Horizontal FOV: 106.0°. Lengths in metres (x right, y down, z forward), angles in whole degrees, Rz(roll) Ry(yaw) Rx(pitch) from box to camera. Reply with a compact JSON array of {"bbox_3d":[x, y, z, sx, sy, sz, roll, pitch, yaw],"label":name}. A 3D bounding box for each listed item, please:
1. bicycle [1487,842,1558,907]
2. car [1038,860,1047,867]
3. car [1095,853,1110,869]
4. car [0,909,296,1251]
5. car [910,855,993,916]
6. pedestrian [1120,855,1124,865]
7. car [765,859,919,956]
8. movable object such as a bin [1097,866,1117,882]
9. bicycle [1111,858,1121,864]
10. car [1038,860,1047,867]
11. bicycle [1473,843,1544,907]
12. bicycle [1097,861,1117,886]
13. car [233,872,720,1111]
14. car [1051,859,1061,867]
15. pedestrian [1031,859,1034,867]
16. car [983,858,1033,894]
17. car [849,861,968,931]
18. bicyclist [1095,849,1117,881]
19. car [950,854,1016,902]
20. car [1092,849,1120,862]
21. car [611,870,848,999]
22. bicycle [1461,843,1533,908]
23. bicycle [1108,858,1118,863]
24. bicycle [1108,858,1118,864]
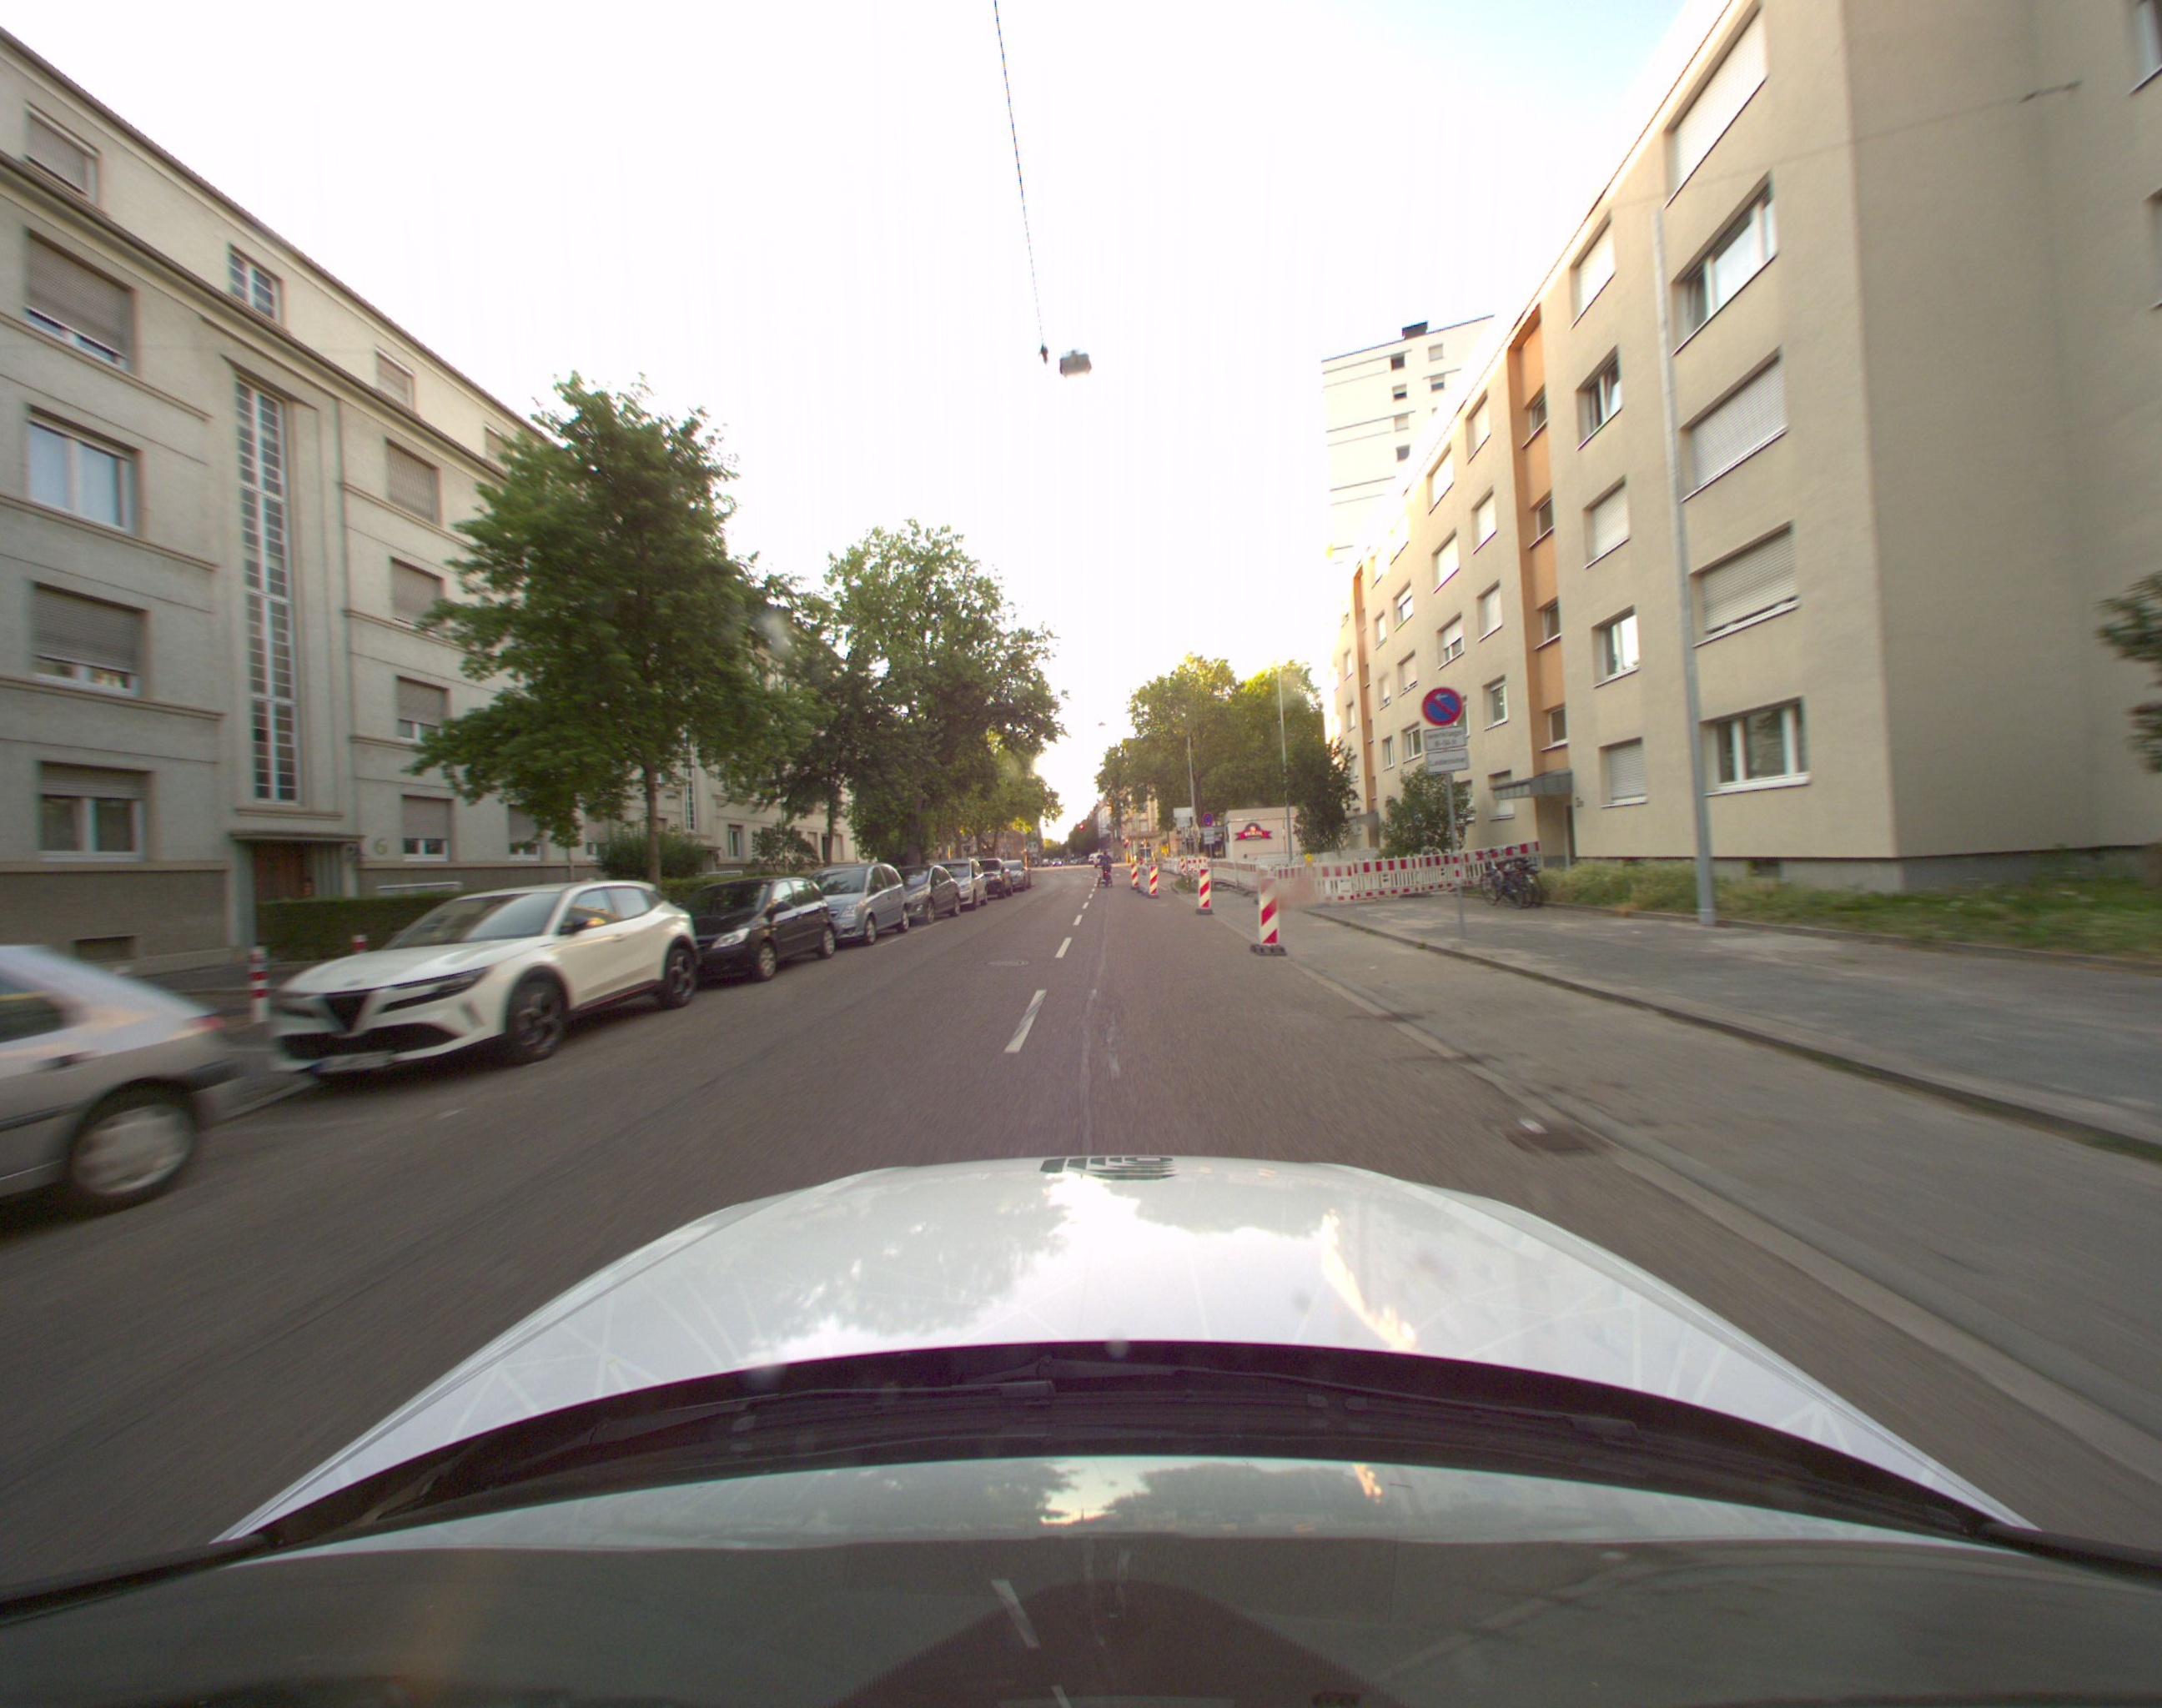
[{"bbox_3d":[8.963,0.399,16.610,0.396,1.222,1.826,-3,0,0],"label":"bicycle"},{"bbox_3d":[-9.160,2.372,195.084,1.991,1.651,3.813,-1,-1,-6],"label":"car"},{"bbox_3d":[2.774,0.903,106.211,1.860,1.815,4.000,-4,-1,0],"label":"car"},{"bbox_3d":[-5.552,1.094,2.721,1.584,1.404,4.183,-6,-1,2],"label":"car"},{"bbox_3d":[-4.204,0.976,27.194,1.840,1.690,4.858,-5,0,0],"label":"car"},{"bbox_3d":[7.478,1.051,149.116,0.590,1.886,0.586,-3,-1,5],"label":"pedestrian"},{"bbox_3d":[-4.786,0.990,16.934,1.701,1.600,4.118,-6,-1,2],"label":"car"},{"bbox_3d":[1.296,1.000,40.569,0.936,0.689,0.993,-6,-1,0],"label":"movable object such as a bin"},{"bbox_3d":[6.920,1.377,162.961,1.900,0.968,0.548,-3,0,16],"label":"bicycle"},{"bbox_3d":[-9.659,2.462,202.804,1.991,1.651,3.813,-1,-1,-6],"label":"car"},{"bbox_3d":[8.716,0.408,16.683,0.396,1.222,1.911,-3,0,0],"label":"bicycle"},{"bbox_3d":[1.330,1.016,42.240,0.936,1.172,2.359,-6,-1,1],"label":"bicycle"},{"bbox_3d":[-5.406,1.060,8.130,1.585,1.538,4.205,-6,-1,0],"label":"car"},{"bbox_3d":[-5.334,1.957,173.184,1.779,1.651,3.813,-1,-1,-6],"label":"car"},{"bbox_3d":[-11.349,2.169,191.915,0.590,1.886,0.586,-3,-1,6],"label":"pedestrian"},{"bbox_3d":[-3.741,1.075,42.402,1.946,1.616,4.606,-5,0,1],"label":"car"},{"bbox_3d":[-4.449,1.024,21.734,1.724,1.497,4.278,-5,0,6],"label":"car"},{"bbox_3d":[1.288,0.580,42.267,0.936,1.581,1.146,-6,-1,1],"label":"bicyclist"},{"bbox_3d":[-4.050,0.961,34.450,1.947,1.719,4.772,-5,0,1],"label":"car"},{"bbox_3d":[5.148,0.308,168.464,5.855,2.288,2.047,-3,0,-41],"label":"car"},{"bbox_3d":[-5.127,1.082,12.521,1.700,1.452,3.845,-6,-1,2],"label":"car"},{"bbox_3d":[8.439,0.415,16.599,0.450,1.222,1.911,-3,0,0],"label":"bicycle"},{"bbox_3d":[6.384,1.264,161.906,1.908,0.968,0.545,-3,0,0],"label":"bicycle"},{"bbox_3d":[6.425,1.381,162.184,1.908,0.968,0.545,-3,0,0],"label":"bicycle"}]
